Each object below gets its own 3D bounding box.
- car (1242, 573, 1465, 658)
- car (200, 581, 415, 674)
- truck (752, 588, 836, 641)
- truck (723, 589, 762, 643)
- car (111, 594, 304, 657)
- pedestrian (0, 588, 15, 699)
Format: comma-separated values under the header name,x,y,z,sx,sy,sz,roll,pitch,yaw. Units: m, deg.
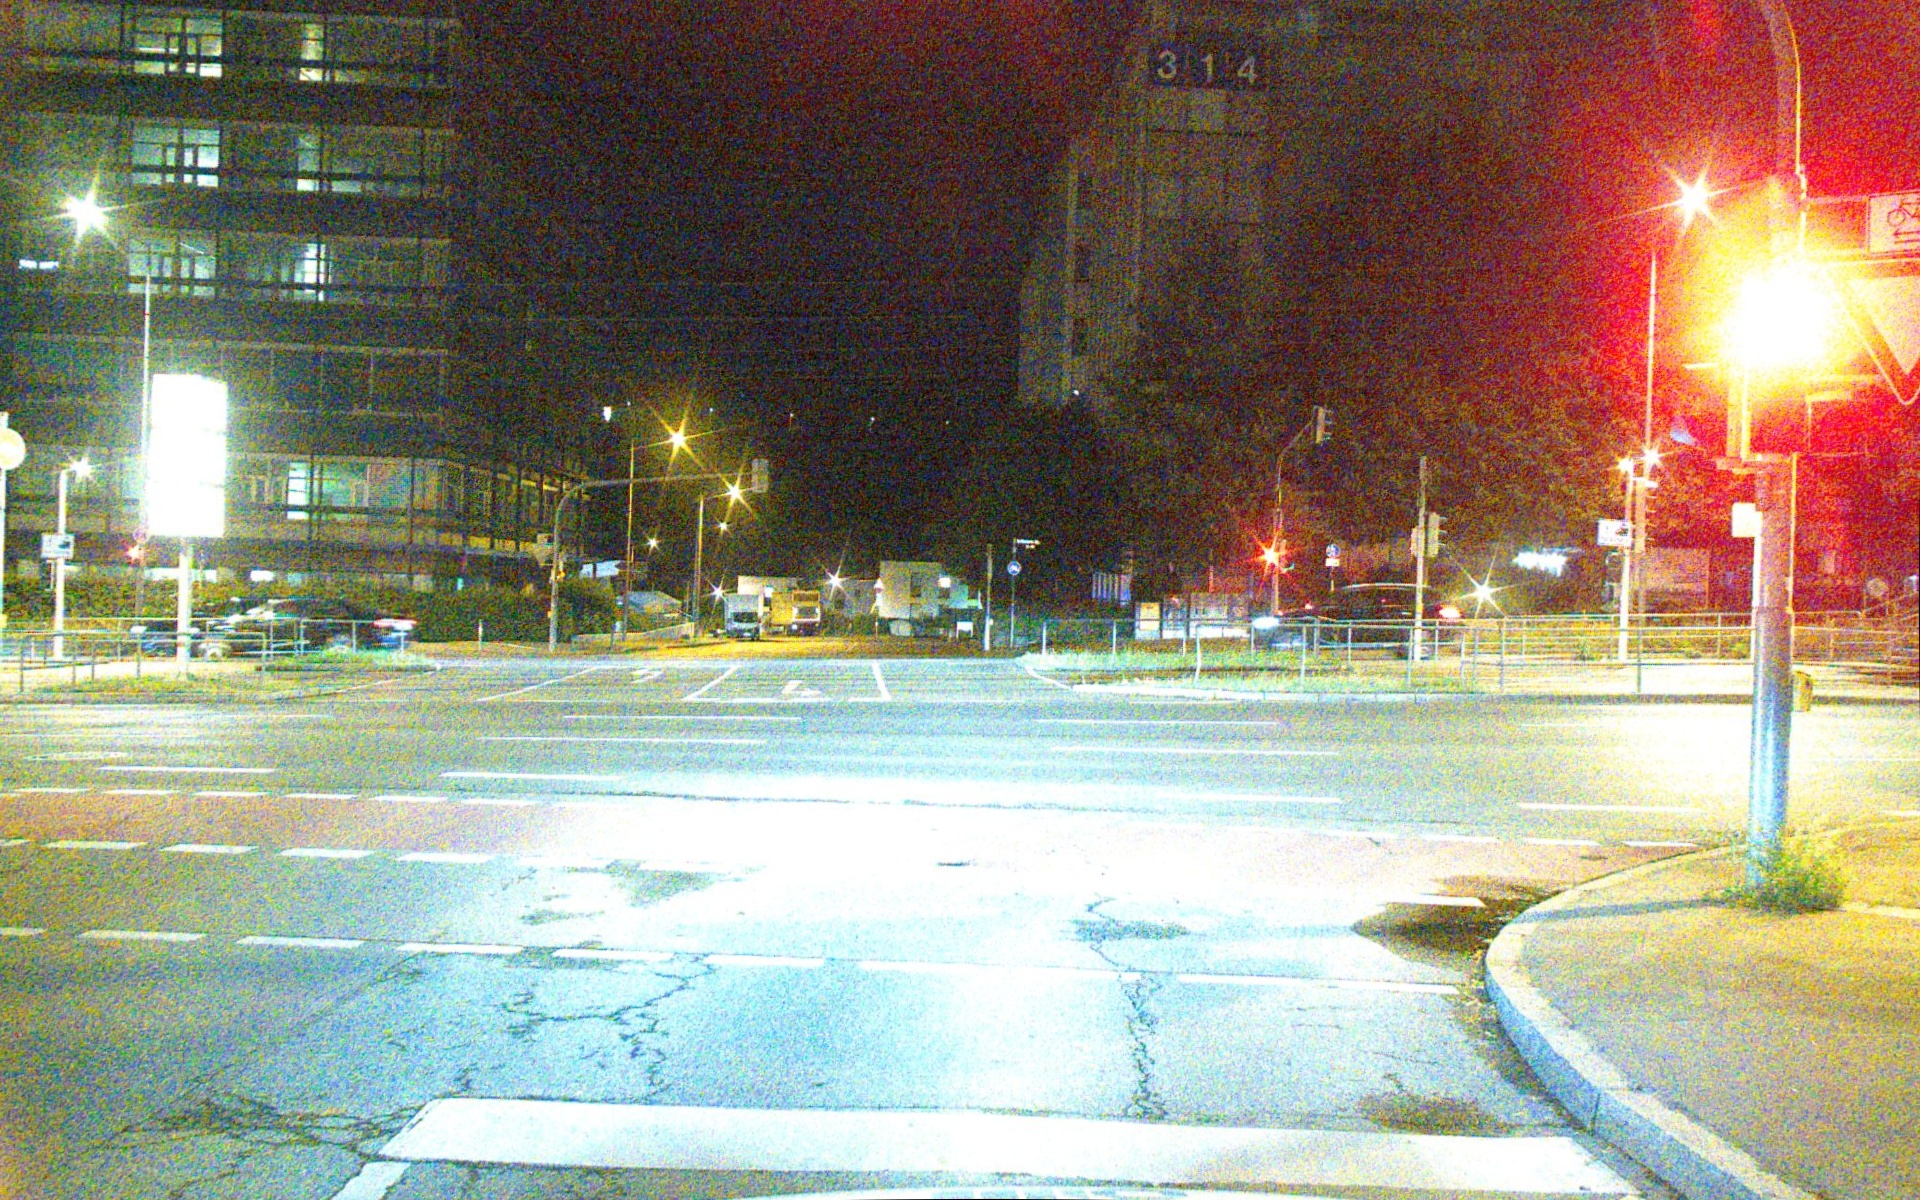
name,x,y,z,sx,sy,sz,roll,pitch,yaw
car,8.700,0.340,36.886,4.521,1.759,2.001,1,0,3
car,-14.926,0.623,37.981,4.095,2.009,2.000,1,0,2
truck,-15.290,1.285,150.976,4.751,4.627,12.593,1,0,-19
truck,-15.660,1.124,119.014,2.535,3.772,5.724,1,0,-9
car,-18.759,0.634,41.352,3.905,1.411,1.865,2,-1,0
pedestrian,-14.697,0.648,24.699,0.656,1.663,0.862,2,-1,-5
